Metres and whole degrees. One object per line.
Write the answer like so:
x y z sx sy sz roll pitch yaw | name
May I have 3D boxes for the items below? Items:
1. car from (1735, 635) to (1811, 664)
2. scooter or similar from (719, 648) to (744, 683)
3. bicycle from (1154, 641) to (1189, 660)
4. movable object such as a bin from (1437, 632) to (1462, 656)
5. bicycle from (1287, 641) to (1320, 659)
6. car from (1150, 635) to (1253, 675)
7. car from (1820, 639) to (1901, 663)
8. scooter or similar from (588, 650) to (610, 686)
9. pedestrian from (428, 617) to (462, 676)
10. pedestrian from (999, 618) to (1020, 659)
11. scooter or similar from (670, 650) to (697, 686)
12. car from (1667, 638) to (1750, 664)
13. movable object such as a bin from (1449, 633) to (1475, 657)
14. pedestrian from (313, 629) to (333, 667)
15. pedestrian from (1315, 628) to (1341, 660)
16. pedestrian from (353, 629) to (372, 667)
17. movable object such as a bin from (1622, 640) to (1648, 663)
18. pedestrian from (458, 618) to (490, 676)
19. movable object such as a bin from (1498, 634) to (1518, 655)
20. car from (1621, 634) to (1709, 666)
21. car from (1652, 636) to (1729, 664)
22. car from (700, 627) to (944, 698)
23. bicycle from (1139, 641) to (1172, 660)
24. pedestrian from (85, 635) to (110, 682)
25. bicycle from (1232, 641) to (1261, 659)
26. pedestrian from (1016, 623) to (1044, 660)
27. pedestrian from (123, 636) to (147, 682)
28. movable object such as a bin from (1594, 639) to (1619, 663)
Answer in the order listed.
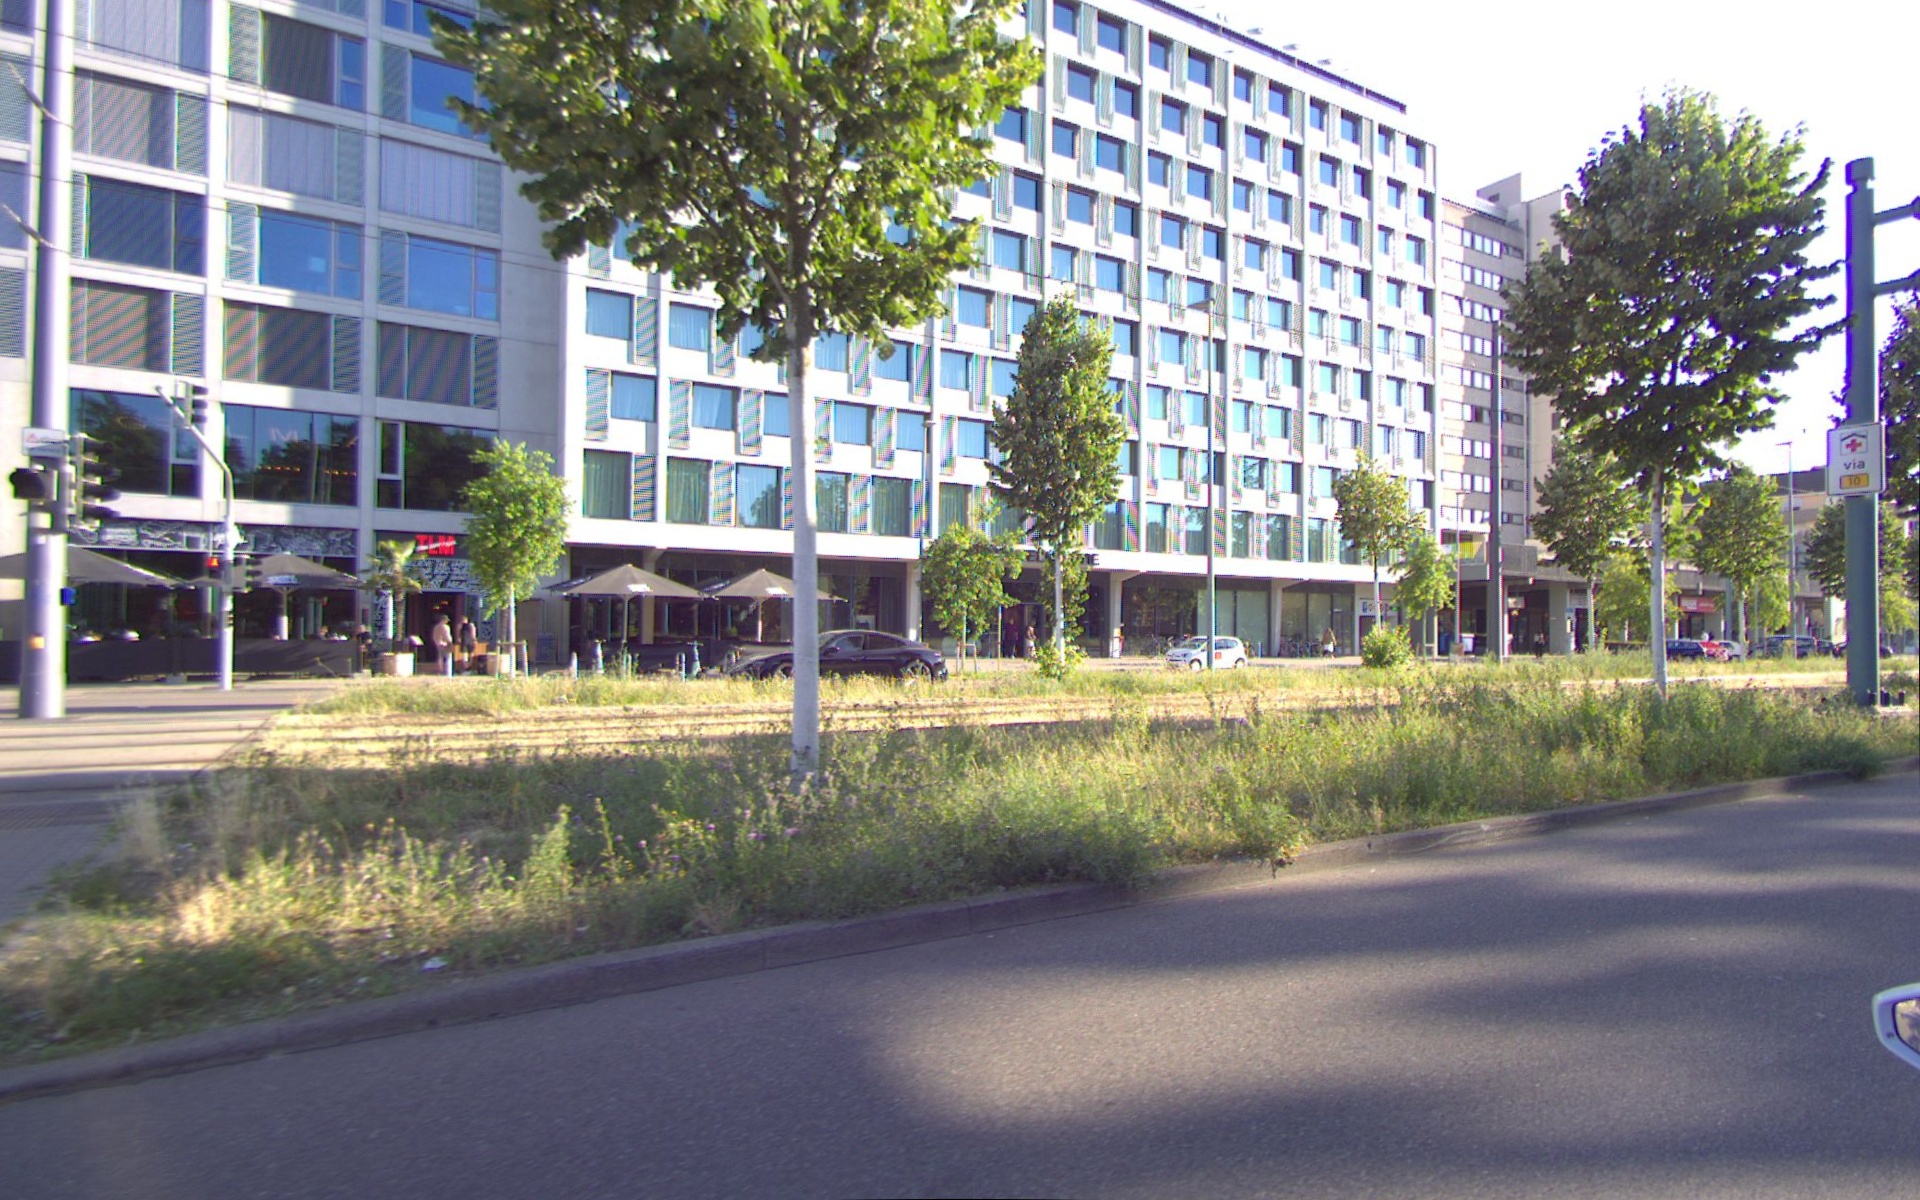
56.787 3.414 70.197 3.685 1.853 1.825 1 0 20 | car
-7.102 2.035 31.262 0.429 1.032 1.238 1 -2 -29 | scooter or similar
10.523 2.502 50.021 0.507 0.917 1.792 2 -2 -36 | bicycle
30.751 2.773 63.116 1.386 1.459 0.796 1 -2 -30 | movable object such as a bin
18.805 2.730 55.007 0.506 0.917 1.794 1 -2 -32 | bicycle
9.917 2.233 41.214 3.825 1.512 1.878 1 -1 -29 | car
66.424 3.730 74.176 3.920 1.584 2.000 1 0 18 | car
-10.647 1.982 29.591 0.401 1.019 1.238 1 -2 -29 | scooter or similar
-15.607 1.401 30.473 0.791 1.744 0.868 1 -1 -21 | pedestrian
2.330 1.818 47.401 0.959 1.895 0.972 0 -1 5 | pedestrian
-8.386 2.049 30.468 0.504 1.032 1.238 1 -2 -29 | scooter or similar
48.405 3.277 65.014 3.919 1.472 1.788 1 0 12 | car
31.176 2.775 62.358 1.386 1.459 0.796 1 -2 -30 | movable object such as a bin
-20.692 1.562 32.638 0.491 1.238 0.429 1 -1 -30 | pedestrian
19.586 2.327 53.462 0.958 1.675 0.840 1 -1 -29 | pedestrian
-19.729 1.587 33.167 0.491 1.238 0.429 1 -1 -30 | pedestrian
39.047 3.002 58.150 0.924 1.297 0.858 1 -2 -16 | movable object such as a bin
-14.895 1.419 30.807 0.791 1.744 0.868 1 -1 -21 | pedestrian
35.090 2.847 64.347 0.858 1.389 0.818 1 -2 -30 | movable object such as a bin
43.050 3.040 61.401 4.015 1.622 1.750 2 1 19 | car
46.075 3.143 63.409 3.554 1.543 1.621 2 0 19 | car
-2.869 1.273 21.307 4.795 1.361 1.882 1 -2 -31 | car
9.695 2.512 49.863 0.507 0.917 1.792 2 -2 -36 | bicycle
-22.843 1.541 26.604 0.428 1.209 0.362 1 -1 -33 | pedestrian
14.908 2.604 52.375 0.504 0.917 1.802 1 -2 -19 | bicycle
3.256 1.906 46.747 1.041 1.692 0.976 1 -1 -16 | pedestrian
-21.893 1.562 26.665 0.428 1.209 0.362 1 -1 -33 | pedestrian
38.097 2.990 59.191 0.924 1.375 0.858 1 -2 -16 | movable object such as a bin
